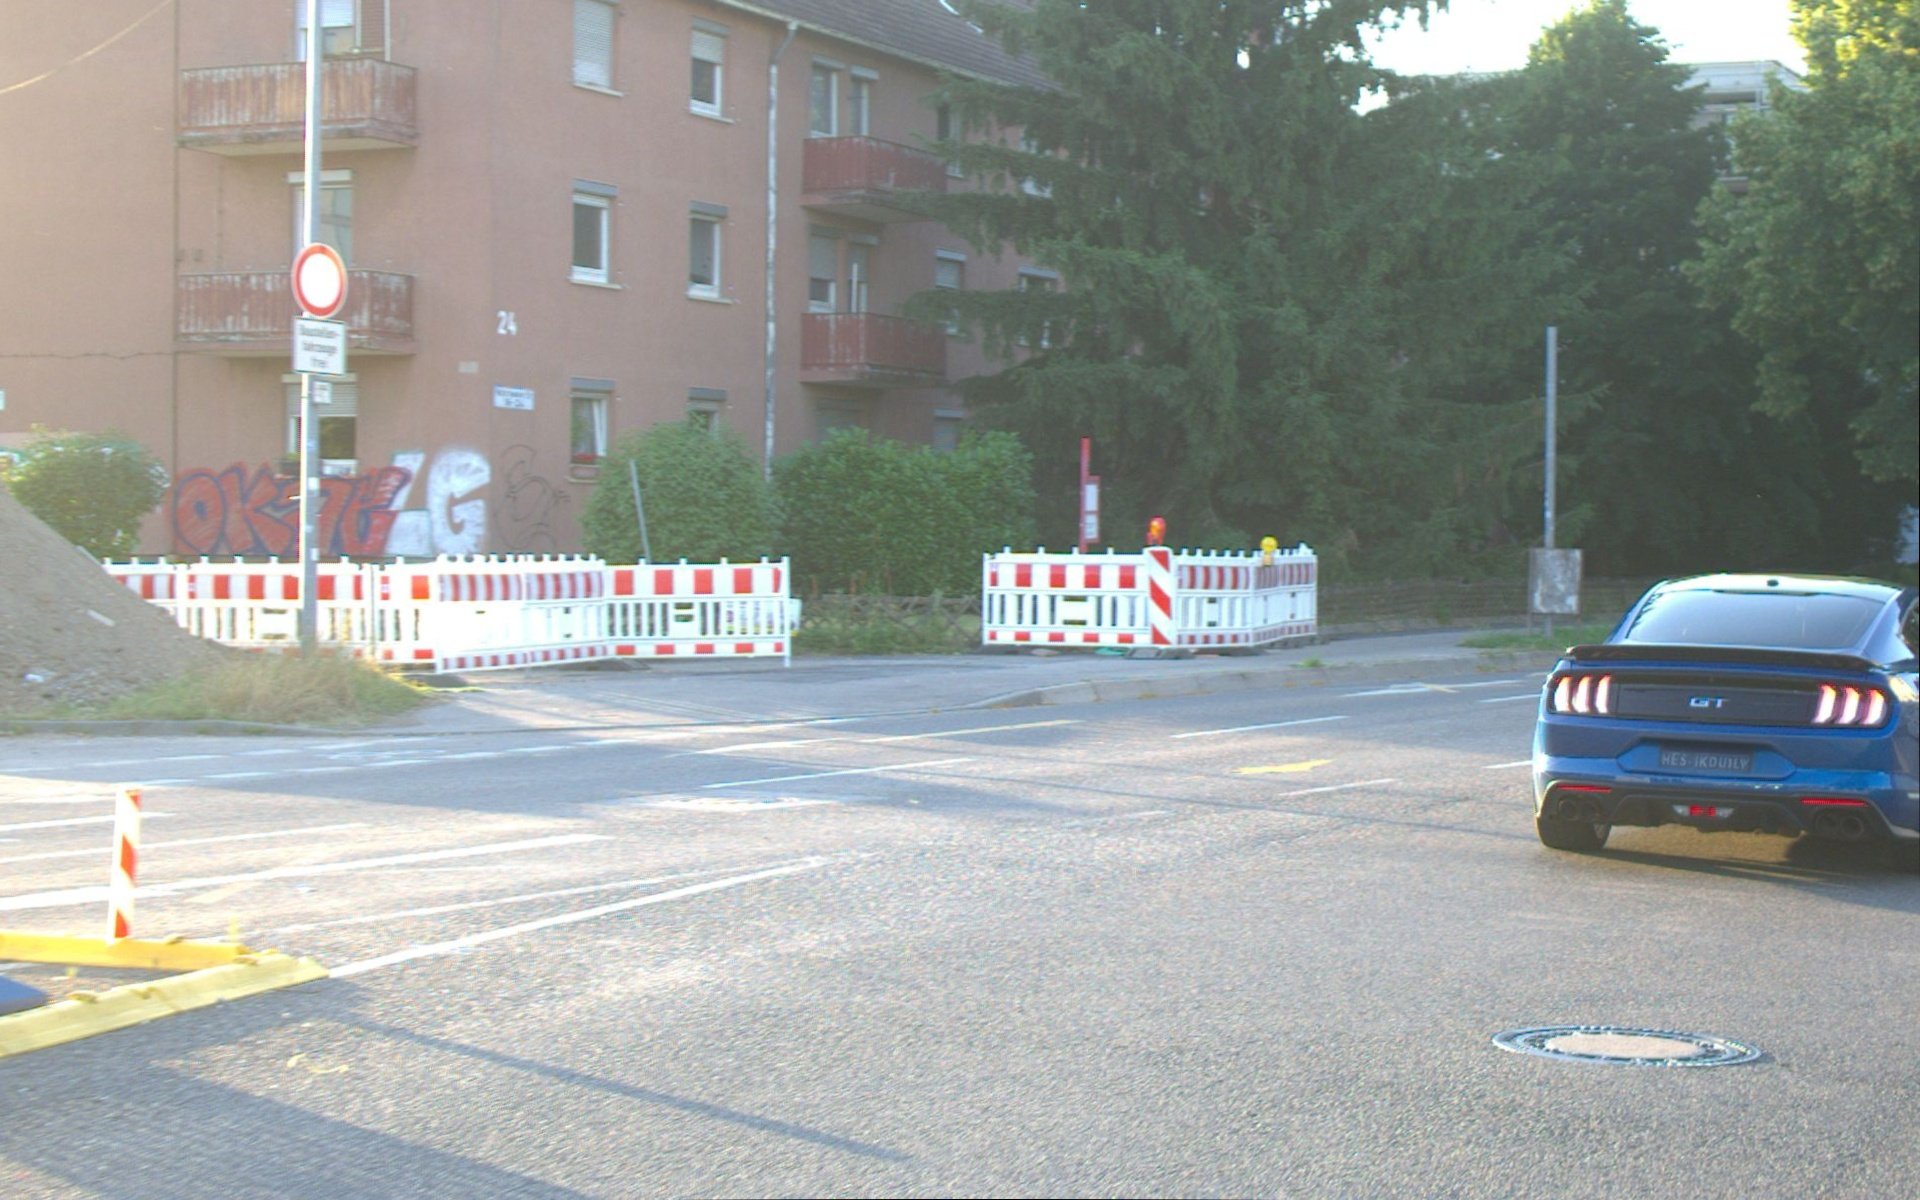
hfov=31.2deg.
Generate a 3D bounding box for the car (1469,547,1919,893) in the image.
[{"bbox_3d":[4.152,0.478,17.251,1.954,1.337,4.665,4,3,23],"label":"car"}]
